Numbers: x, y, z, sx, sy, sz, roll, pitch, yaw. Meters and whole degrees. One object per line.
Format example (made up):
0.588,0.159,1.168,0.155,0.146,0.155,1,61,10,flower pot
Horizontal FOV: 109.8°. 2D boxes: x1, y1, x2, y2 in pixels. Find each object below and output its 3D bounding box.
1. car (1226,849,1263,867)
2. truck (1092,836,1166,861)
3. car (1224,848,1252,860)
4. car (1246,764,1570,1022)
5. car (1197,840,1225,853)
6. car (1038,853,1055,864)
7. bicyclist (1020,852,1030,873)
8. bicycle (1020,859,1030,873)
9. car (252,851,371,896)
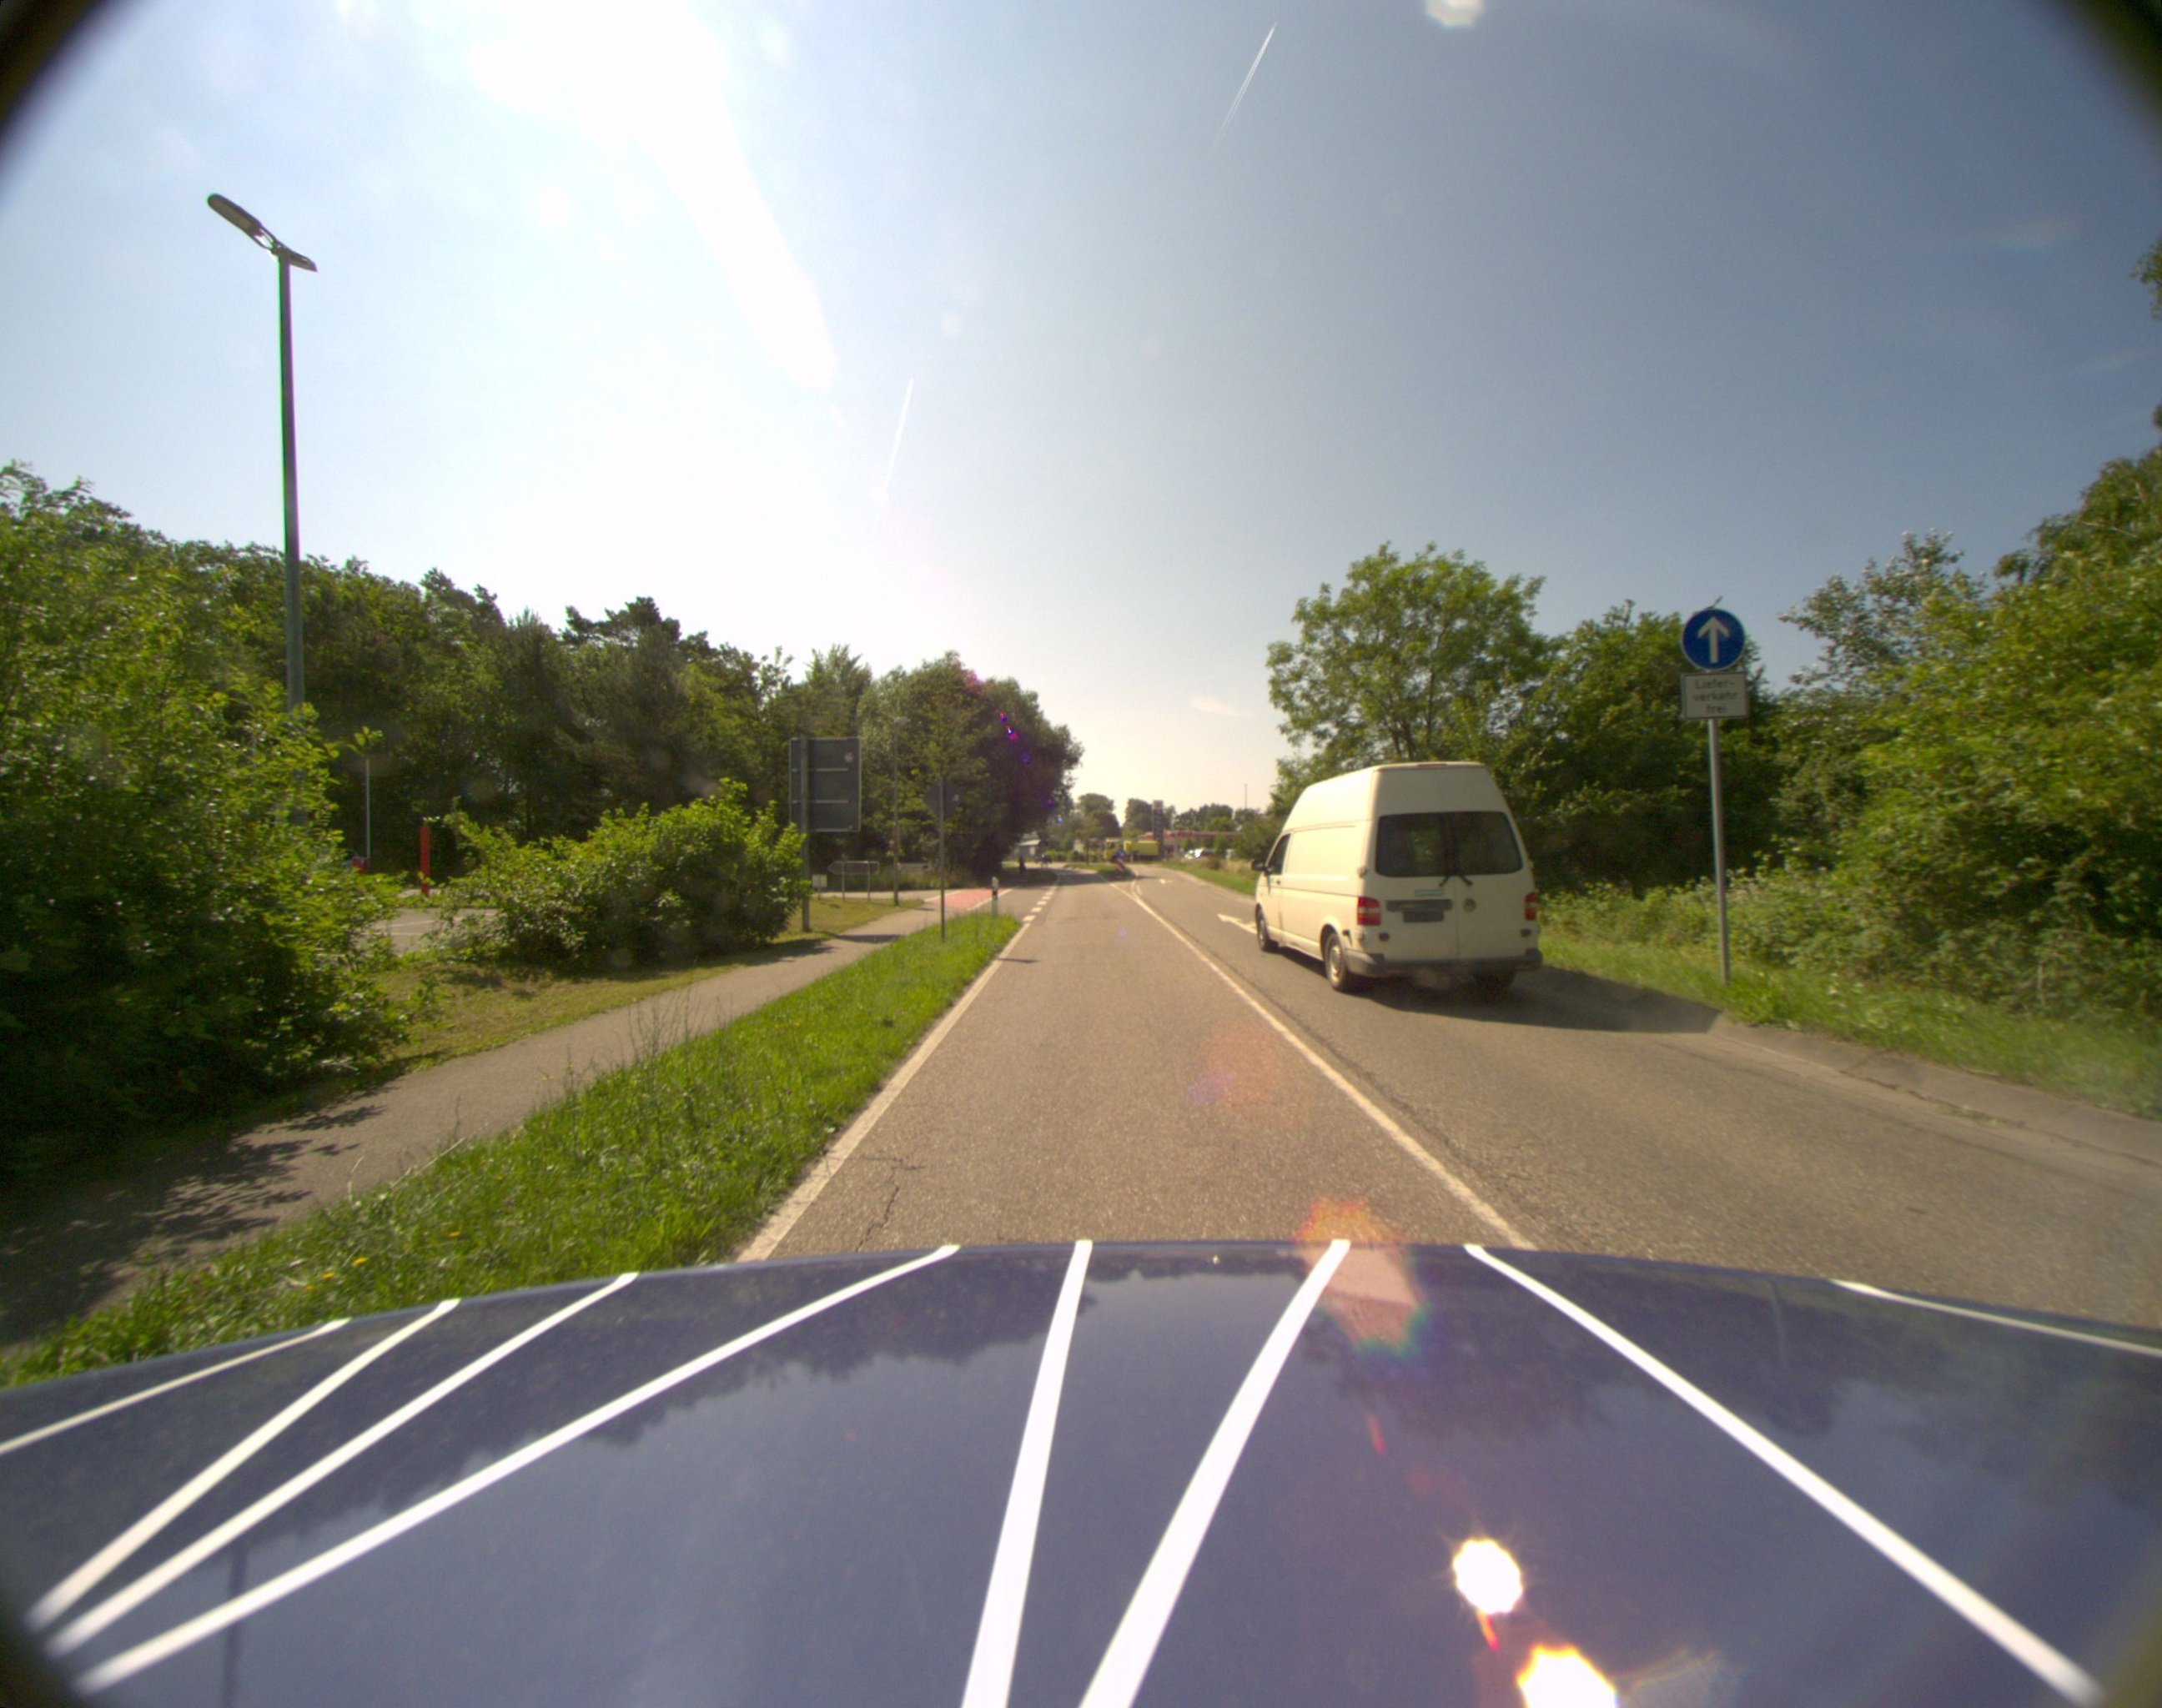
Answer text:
19.670,0.507,91.516,3.998,2.155,1.999,0,1,-2,car
6.785,-0.801,108.726,10.334,3.374,3.884,0,1,-1,truck
25.564,-0.043,123.668,4.004,1.936,1.996,0,1,-20,car
3.565,0.350,9.490,1.917,2.386,4.909,0,0,0,car
20.798,-1.210,121.570,4.004,1.936,1.996,0,1,-20,car
-5.204,0.702,115.097,1.830,1.630,3.832,0,0,-15,car
-4.761,0.718,64.467,0.638,1.720,0.978,-1,1,2,bicyclist
-4.750,1.022,64.453,0.591,1.117,1.520,-2,1,2,bicycle
-28.369,0.653,28.189,1.762,1.522,4.364,0,1,-26,car
